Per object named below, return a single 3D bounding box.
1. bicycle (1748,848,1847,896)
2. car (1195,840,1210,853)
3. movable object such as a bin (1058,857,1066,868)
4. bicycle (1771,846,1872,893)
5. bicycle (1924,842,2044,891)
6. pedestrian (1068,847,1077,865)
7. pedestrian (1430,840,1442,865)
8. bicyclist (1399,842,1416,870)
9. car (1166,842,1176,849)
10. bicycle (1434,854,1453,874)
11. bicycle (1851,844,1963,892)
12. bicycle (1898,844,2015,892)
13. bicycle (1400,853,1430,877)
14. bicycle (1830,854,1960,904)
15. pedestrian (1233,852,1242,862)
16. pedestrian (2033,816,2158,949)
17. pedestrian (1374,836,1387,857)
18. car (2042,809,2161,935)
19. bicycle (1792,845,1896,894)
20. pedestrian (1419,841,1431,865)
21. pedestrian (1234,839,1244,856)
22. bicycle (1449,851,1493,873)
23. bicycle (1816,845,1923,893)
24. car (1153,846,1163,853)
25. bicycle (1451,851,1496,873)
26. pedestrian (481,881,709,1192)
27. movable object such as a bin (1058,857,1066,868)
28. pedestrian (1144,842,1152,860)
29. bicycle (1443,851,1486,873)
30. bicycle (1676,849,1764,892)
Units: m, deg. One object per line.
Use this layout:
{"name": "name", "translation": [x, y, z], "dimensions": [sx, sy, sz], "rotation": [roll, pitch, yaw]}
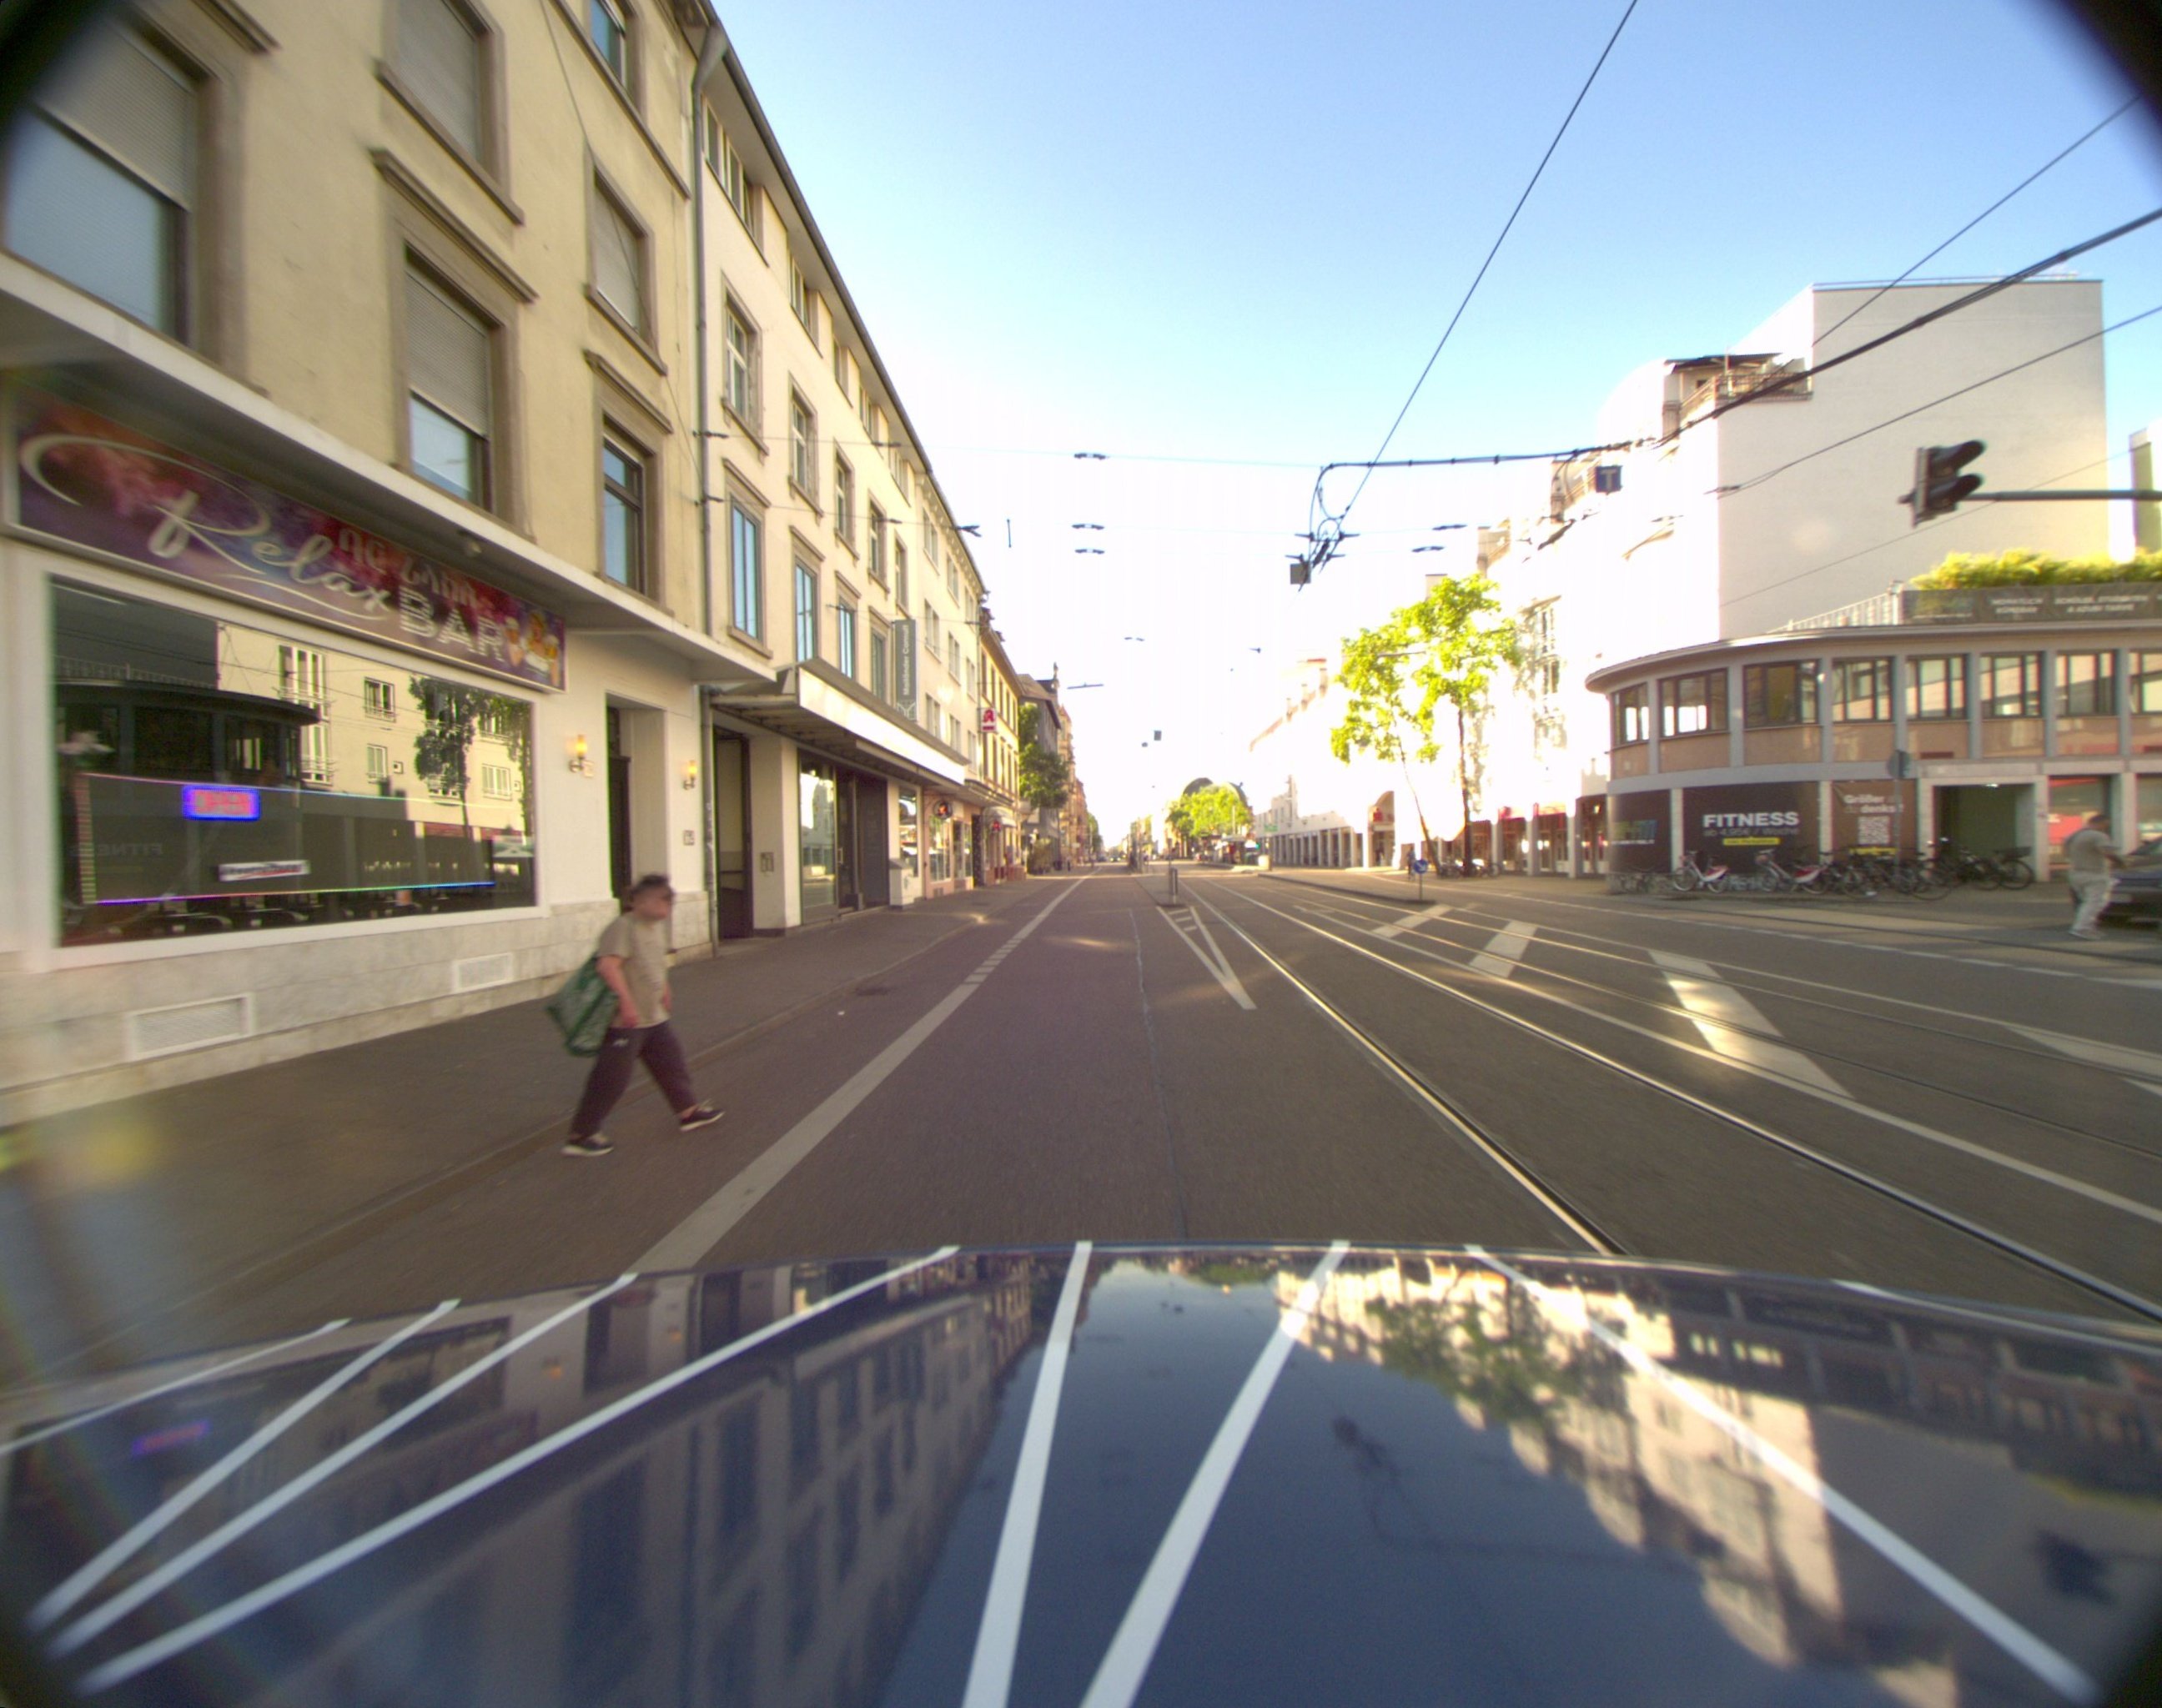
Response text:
{"name": "bicycle", "translation": [16.978, 0.398, 18.061], "dimensions": [0.464, 1.073, 1.878], "rotation": [-1, 0, -5]}
{"name": "car", "translation": [21.079, -1.281, 132.288], "dimensions": [1.884, 2.001, 4.001], "rotation": [-3, -1, 1]}
{"name": "movable object such as a bin", "translation": [-1.872, 0.815, 75.344], "dimensions": [0.717, 1.062, 0.637], "rotation": [-2, 1, 2]}
{"name": "bicycle", "translation": [17.521, 0.344, 18.039], "dimensions": [0.464, 1.030, 1.878], "rotation": [-1, 0, -5]}
{"name": "bicycle", "translation": [21.218, 0.277, 17.918], "dimensions": [0.464, 1.071, 1.878], "rotation": [-2, 1, -7]}
{"name": "pedestrian", "translation": [-0.849, 0.164, 74.166], "dimensions": [0.695, 1.680, 0.688], "rotation": [4, 1, 2]}
{"name": "pedestrian", "translation": [23.833, -0.111, 51.040], "dimensions": [0.563, 1.635, 0.523], "rotation": [-1, 1, 3]}
{"name": "bicyclist", "translation": [15.905, 0.076, 37.009], "dimensions": [0.564, 1.354, 0.718], "rotation": [-1, 2, 1]}
{"name": "car", "translation": [20.769, -1.899, 175.916], "dimensions": [1.998, 1.608, 4.001], "rotation": [-2, 0, 3]}
{"name": "bicycle", "translation": [18.155, 0.489, 38.060], "dimensions": [0.470, 0.926, 1.755], "rotation": [-1, 1, 12]}
{"name": "bicycle", "translation": [19.452, 0.315, 17.960], "dimensions": [0.464, 1.071, 1.878], "rotation": [-2, 1, -7]}
{"name": "bicycle", "translation": [20.618, 0.308, 17.959], "dimensions": [0.464, 1.071, 1.878], "rotation": [-2, 1, -7]}
{"name": "bicycle", "translation": [16.169, 0.523, 36.844], "dimensions": [0.565, 1.117, 2.004], "rotation": [-3, 1, 1]}
{"name": "bicycle", "translation": [17.485, 0.531, 16.360], "dimensions": [1.874, 1.030, 0.426], "rotation": [-1, 1, 27]}
{"name": "pedestrian", "translation": [15.457, 0.311, 75.124], "dimensions": [0.794, 0.982, 0.747], "rotation": [-1, 1, 3]}
{"name": "pedestrian", "translation": [14.072, 0.376, 10.558], "dimensions": [0.715, 1.754, 0.780], "rotation": [-2, 1, -5]}
{"name": "pedestrian", "translation": [24.582, -0.606, 62.369], "dimensions": [0.747, 1.635, 0.731], "rotation": [-2, 1, 3]}
{"name": "car", "translation": [17.235, 0.173, 11.000], "dimensions": [4.243, 1.753, 1.785], "rotation": [-2, 1, 2]}
{"name": "bicycle", "translation": [18.031, 0.344, 18.021], "dimensions": [0.464, 1.081, 1.878], "rotation": [-1, 1, -5]}
{"name": "pedestrian", "translation": [23.088, -0.077, 51.001], "dimensions": [0.563, 1.635, 0.523], "rotation": [-1, 1, 3]}
{"name": "pedestrian", "translation": [14.767, -0.612, 71.006], "dimensions": [0.794, 1.636, 0.747], "rotation": [0, 3, 3]}
{"name": "bicycle", "translation": [19.257, 0.383, 37.532], "dimensions": [1.876, 1.071, 0.465], "rotation": [-1, 1, 11]}
{"name": "bicycle", "translation": [18.644, 0.327, 18.025], "dimensions": [0.464, 1.071, 1.878], "rotation": [-2, 1, -5]}
{"name": "car", "translation": [20.838, -1.209, 205.778], "dimensions": [1.998, 1.893, 3.999], "rotation": [-2, 0, 0]}
{"name": "bicycle", "translation": [19.108, 0.389, 37.032], "dimensions": [1.876, 1.071, 0.465], "rotation": [-1, 1, 11]}
{"name": "pedestrian", "translation": [-2.644, 0.949, 4.211], "dimensions": [0.780, 1.551, 0.650], "rotation": [-2, 1, 1]}
{"name": "movable object such as a bin", "translation": [-1.886, 0.823, 76.124], "dimensions": [0.717, 1.062, 0.637], "rotation": [-2, 1, 2]}
{"name": "pedestrian", "translation": [6.228, -0.277, 70.381], "dimensions": [0.716, 1.635, 0.400], "rotation": [-1, 1, 5]}
{"name": "bicycle", "translation": [19.442, 0.386, 38.543], "dimensions": [1.876, 1.071, 0.465], "rotation": [-1, 1, 11]}
{"name": "bicycle", "translation": [16.293, 0.404, 19.436], "dimensions": [0.525, 1.030, 1.878], "rotation": [-1, 0, -5]}
